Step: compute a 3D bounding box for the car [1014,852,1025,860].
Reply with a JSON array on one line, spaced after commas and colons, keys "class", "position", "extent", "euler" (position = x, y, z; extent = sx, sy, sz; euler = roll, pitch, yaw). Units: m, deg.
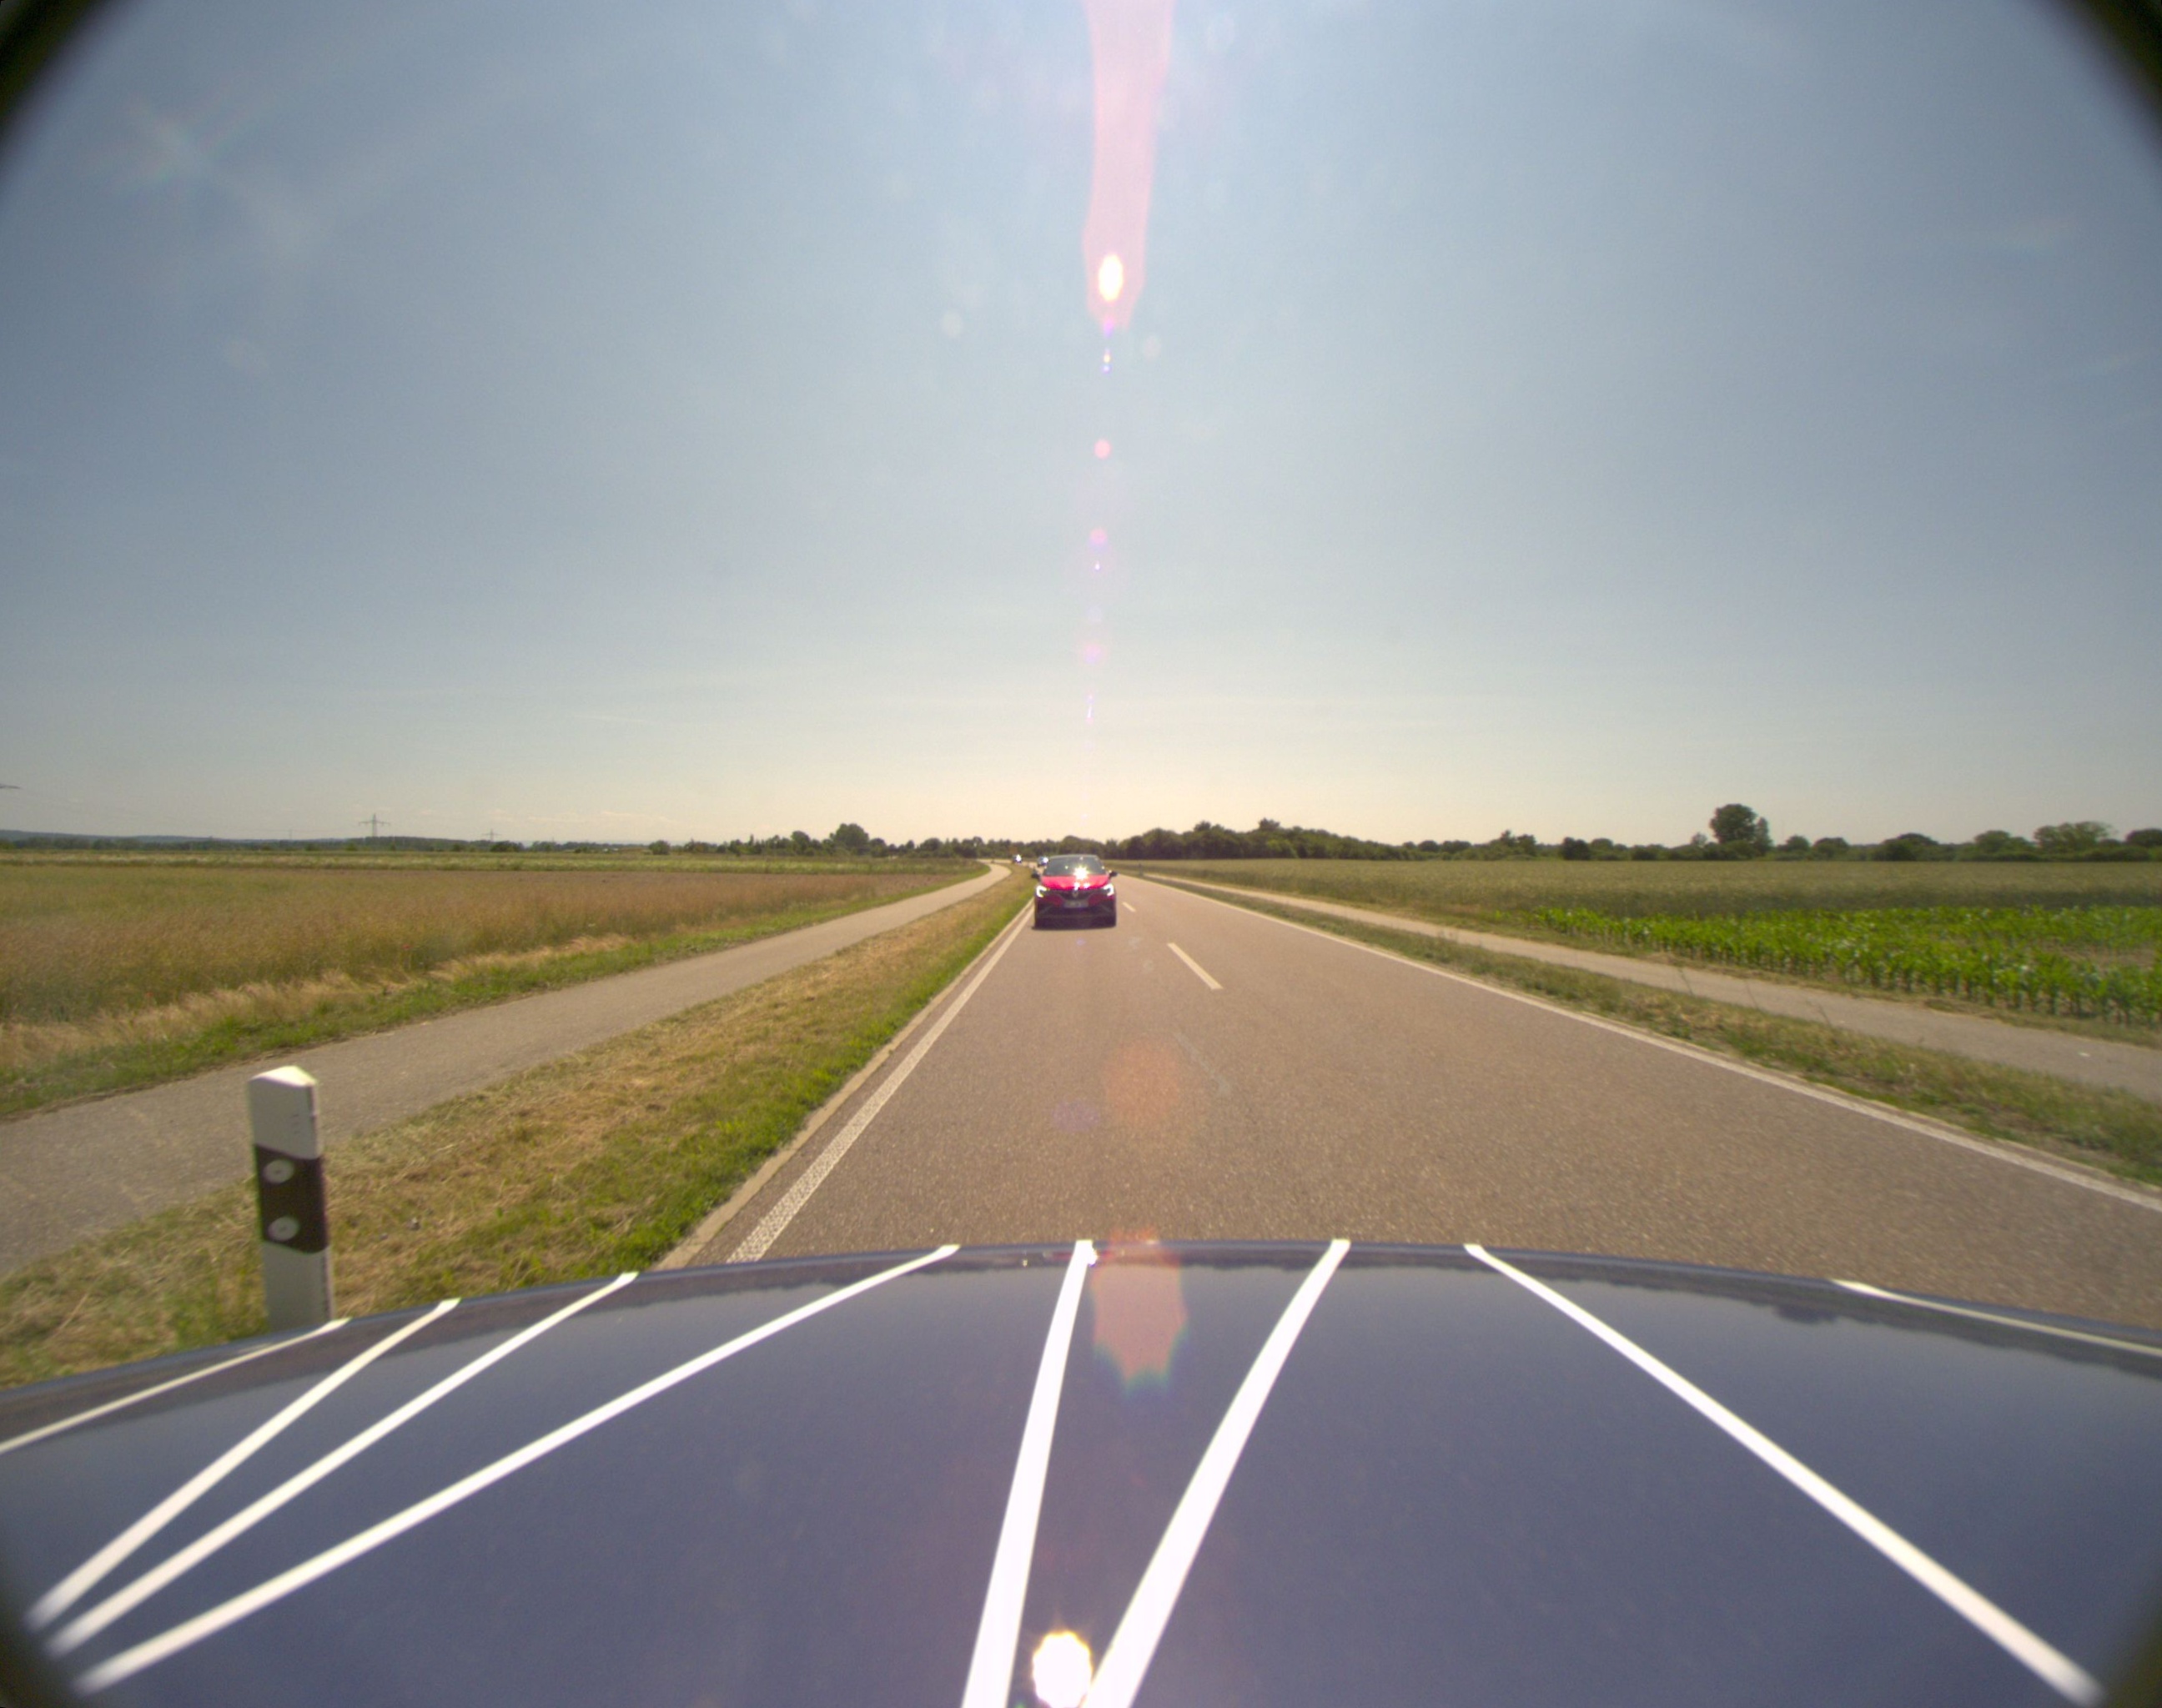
[{"class": "car", "position": [-13.180, 0.367, 163.187], "extent": [1.985, 1.587, 5.397], "euler": [-1, 1, -9]}]

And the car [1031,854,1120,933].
[{"class": "car", "position": [-0.117, 0.834, 18.370], "extent": [1.837, 1.587, 4.721], "euler": [-1, 1, 0]}]

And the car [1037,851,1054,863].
[{"class": "car", "position": [-4.994, 0.433, 106.960], "extent": [1.984, 1.587, 5.398], "euler": [-1, 1, -7]}]

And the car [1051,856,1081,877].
[{"class": "car", "position": [-1.259, 0.969, 61.145], "extent": [1.984, 1.587, 5.399], "euler": [-1, 1, -5]}]
